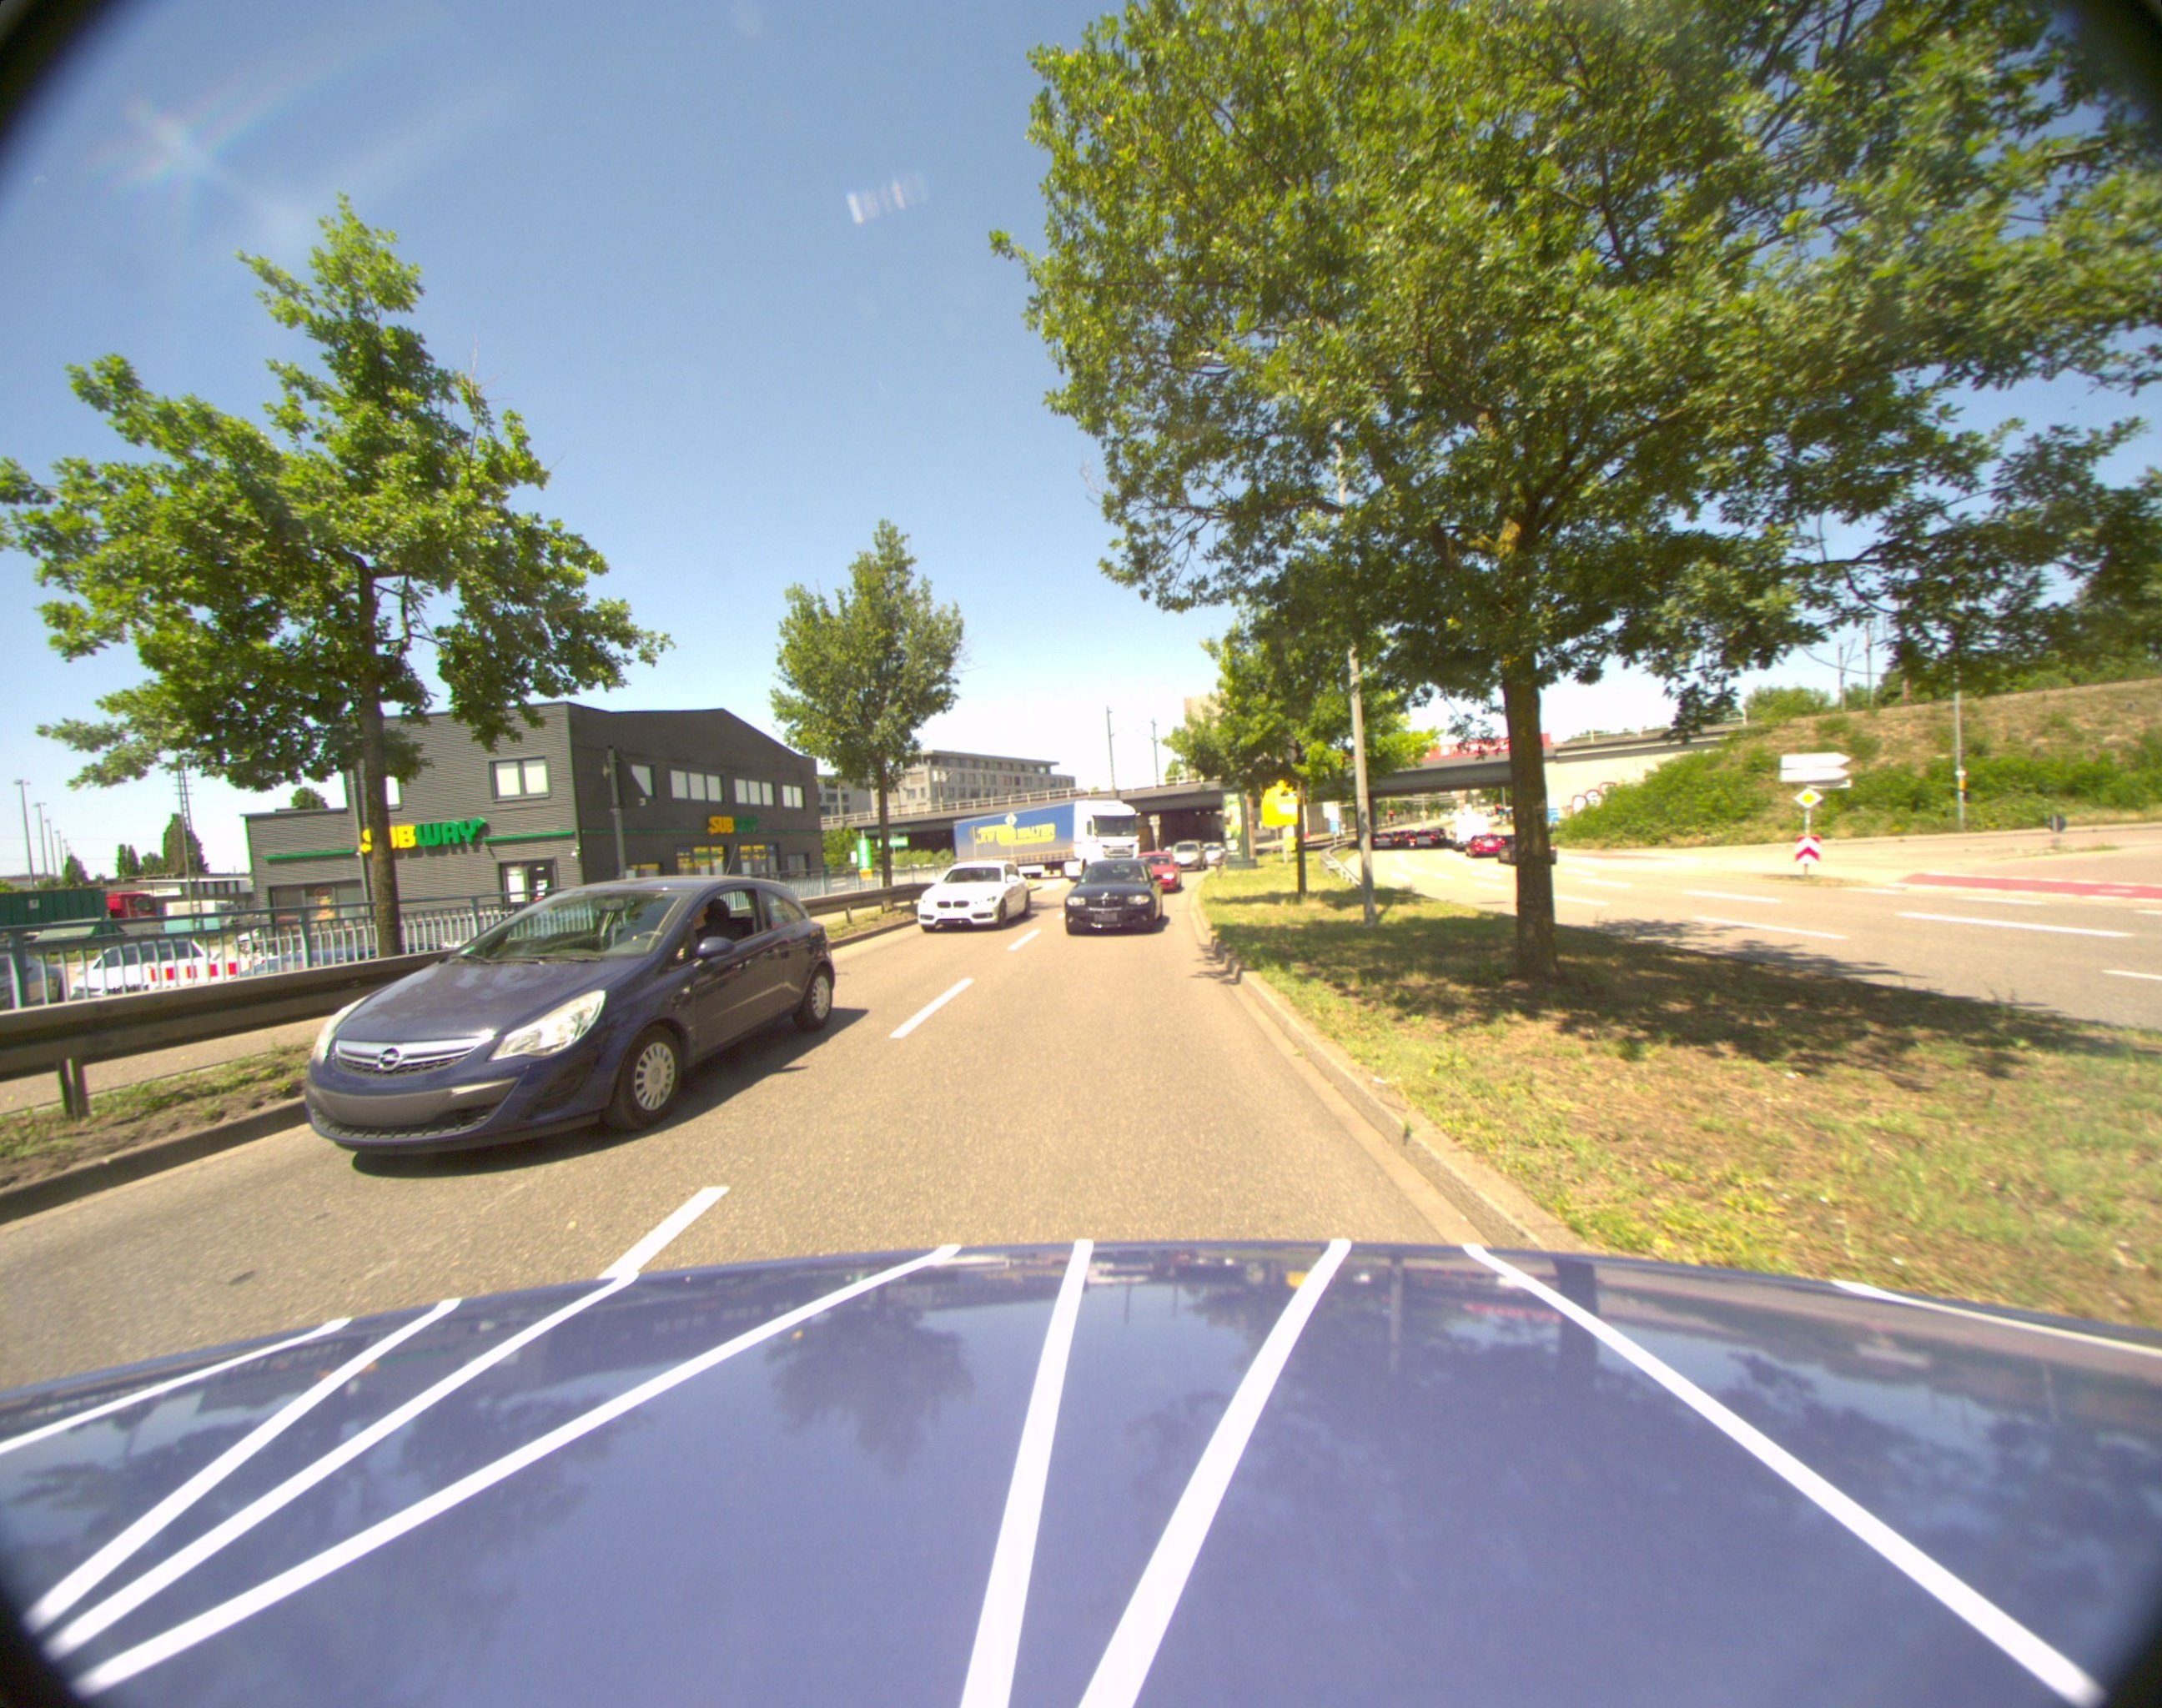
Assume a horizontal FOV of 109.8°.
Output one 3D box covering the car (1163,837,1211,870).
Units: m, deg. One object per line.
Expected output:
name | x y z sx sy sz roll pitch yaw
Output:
car | 6.140 -0.058 43.652 1.843 1.686 3.704 -2 2 22

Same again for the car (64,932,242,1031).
car | -19.915 2.615 16.542 5.069 1.350 2.003 -2 2 44

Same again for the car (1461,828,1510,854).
car | 24.411 -0.822 46.021 1.833 1.429 4.530 -3 1 18

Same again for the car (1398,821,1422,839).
car | 36.824 -2.729 84.966 1.903 1.849 4.006 -2 2 31

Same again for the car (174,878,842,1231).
car | -3.292 1.010 5.482 1.650 1.436 3.891 -3 0 3

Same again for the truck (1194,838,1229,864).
truck | 8.832 -0.231 51.124 1.729 1.493 4.004 -3 1 18

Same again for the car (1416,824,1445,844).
car | 29.778 -1.730 64.712 1.635 1.558 4.080 -1 1 33

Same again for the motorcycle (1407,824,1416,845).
motorcycle | 26.932 -1.624 61.858 0.598 1.669 2.428 -2 2 24

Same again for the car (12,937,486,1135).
car | -10.324 2.149 9.972 1.636 1.523 3.900 -3 1 6

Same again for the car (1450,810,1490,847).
car | 28.411 -1.779 55.640 2.096 2.485 5.818 -2 0 22

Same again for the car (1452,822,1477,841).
car | 36.037 -2.114 71.346 1.773 1.658 4.021 -2 1 30

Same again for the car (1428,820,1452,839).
car | 39.443 -2.684 83.340 1.903 1.849 4.006 -2 2 31

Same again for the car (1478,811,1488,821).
car | 85.787 -8.064 162.211 1.703 2.002 4.006 -2 2 30

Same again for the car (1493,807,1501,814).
car | 123.190 -12.766 224.936 1.836 2.002 4.006 -2 2 29

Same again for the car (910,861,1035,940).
car | -2.303 0.967 17.261 1.761 1.435 4.054 -1 1 7

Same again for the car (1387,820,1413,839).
car | 33.547 -2.583 79.904 1.903 1.849 4.006 -2 2 31

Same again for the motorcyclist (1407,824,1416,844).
motorcyclist | 26.863 -1.604 61.699 0.587 1.617 0.563 -2 2 25

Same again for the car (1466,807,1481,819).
car | 74.549 -7.866 144.380 1.995 2.091 6.393 -2 2 32

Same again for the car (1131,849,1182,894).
car | 2.750 0.579 27.116 1.646 1.391 4.054 -1 1 8

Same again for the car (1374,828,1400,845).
car | 27.363 -1.588 67.885 1.635 1.395 4.228 -1 2 29

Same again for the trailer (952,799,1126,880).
trailer | -3.016 -0.633 45.483 2.504 4.067 13.870 -5 1 -39

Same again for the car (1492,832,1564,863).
car | 21.537 -0.355 36.797 1.812 1.326 4.573 -3 1 15

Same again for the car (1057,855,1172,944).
car | 0.835 0.825 15.665 1.680 1.409 4.058 -3 1 12

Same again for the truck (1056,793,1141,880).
truck | 0.786 -0.872 39.413 2.577 4.079 5.753 -4 2 -17

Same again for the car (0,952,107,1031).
car | -23.669 3.071 16.949 1.482 1.246 3.604 -4 2 -38
